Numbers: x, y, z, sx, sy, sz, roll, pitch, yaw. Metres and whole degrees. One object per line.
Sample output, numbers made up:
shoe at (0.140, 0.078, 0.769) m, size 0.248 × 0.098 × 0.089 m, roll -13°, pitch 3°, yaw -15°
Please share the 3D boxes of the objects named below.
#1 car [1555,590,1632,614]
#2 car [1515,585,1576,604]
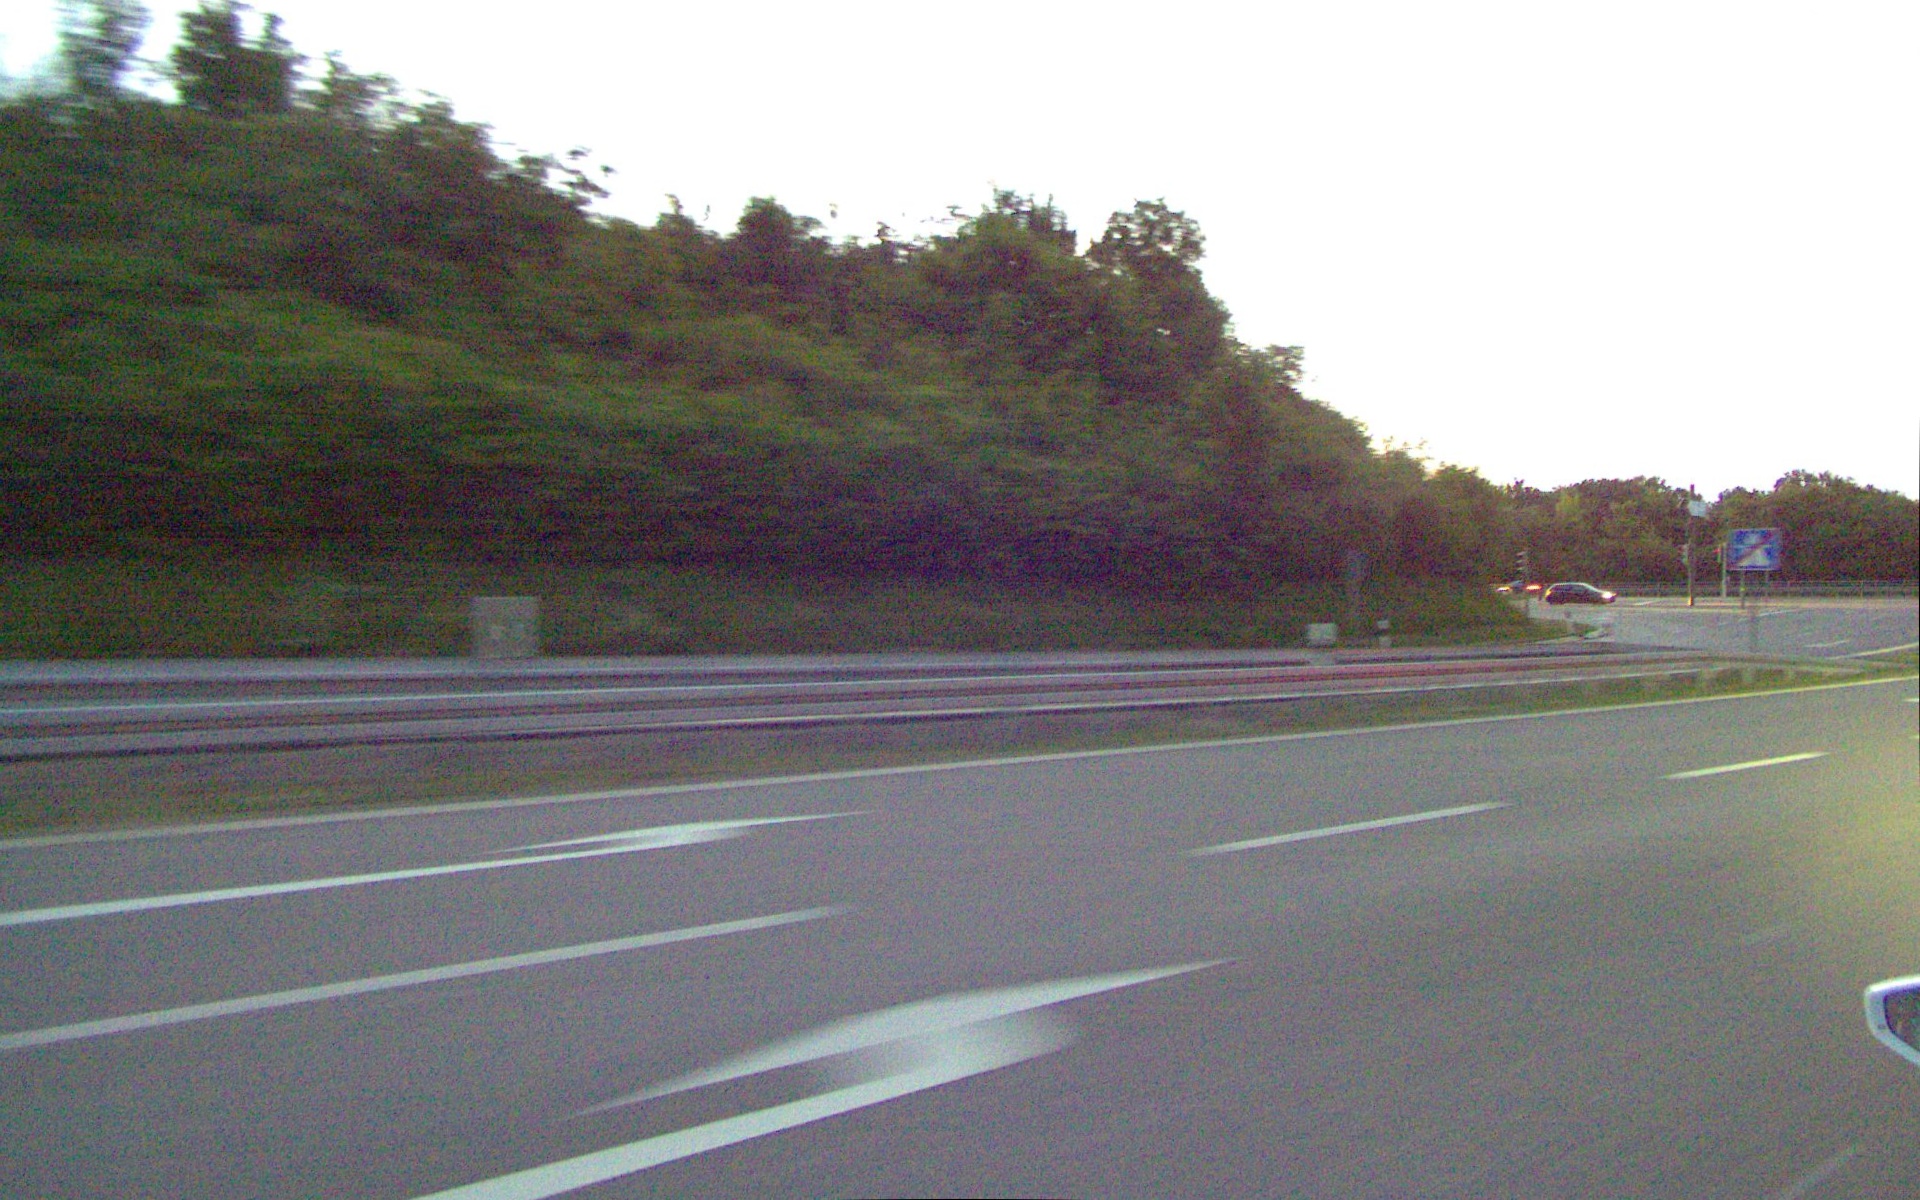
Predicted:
car at (41.293, 0.155, 65.505) m, size 1.987 × 1.472 × 3.947 m, roll 0°, pitch -1°, yaw -44°
car at (48.143, -0.489, 82.682) m, size 1.986 × 1.472 × 3.948 m, roll 0°, pitch 2°, yaw -44°
